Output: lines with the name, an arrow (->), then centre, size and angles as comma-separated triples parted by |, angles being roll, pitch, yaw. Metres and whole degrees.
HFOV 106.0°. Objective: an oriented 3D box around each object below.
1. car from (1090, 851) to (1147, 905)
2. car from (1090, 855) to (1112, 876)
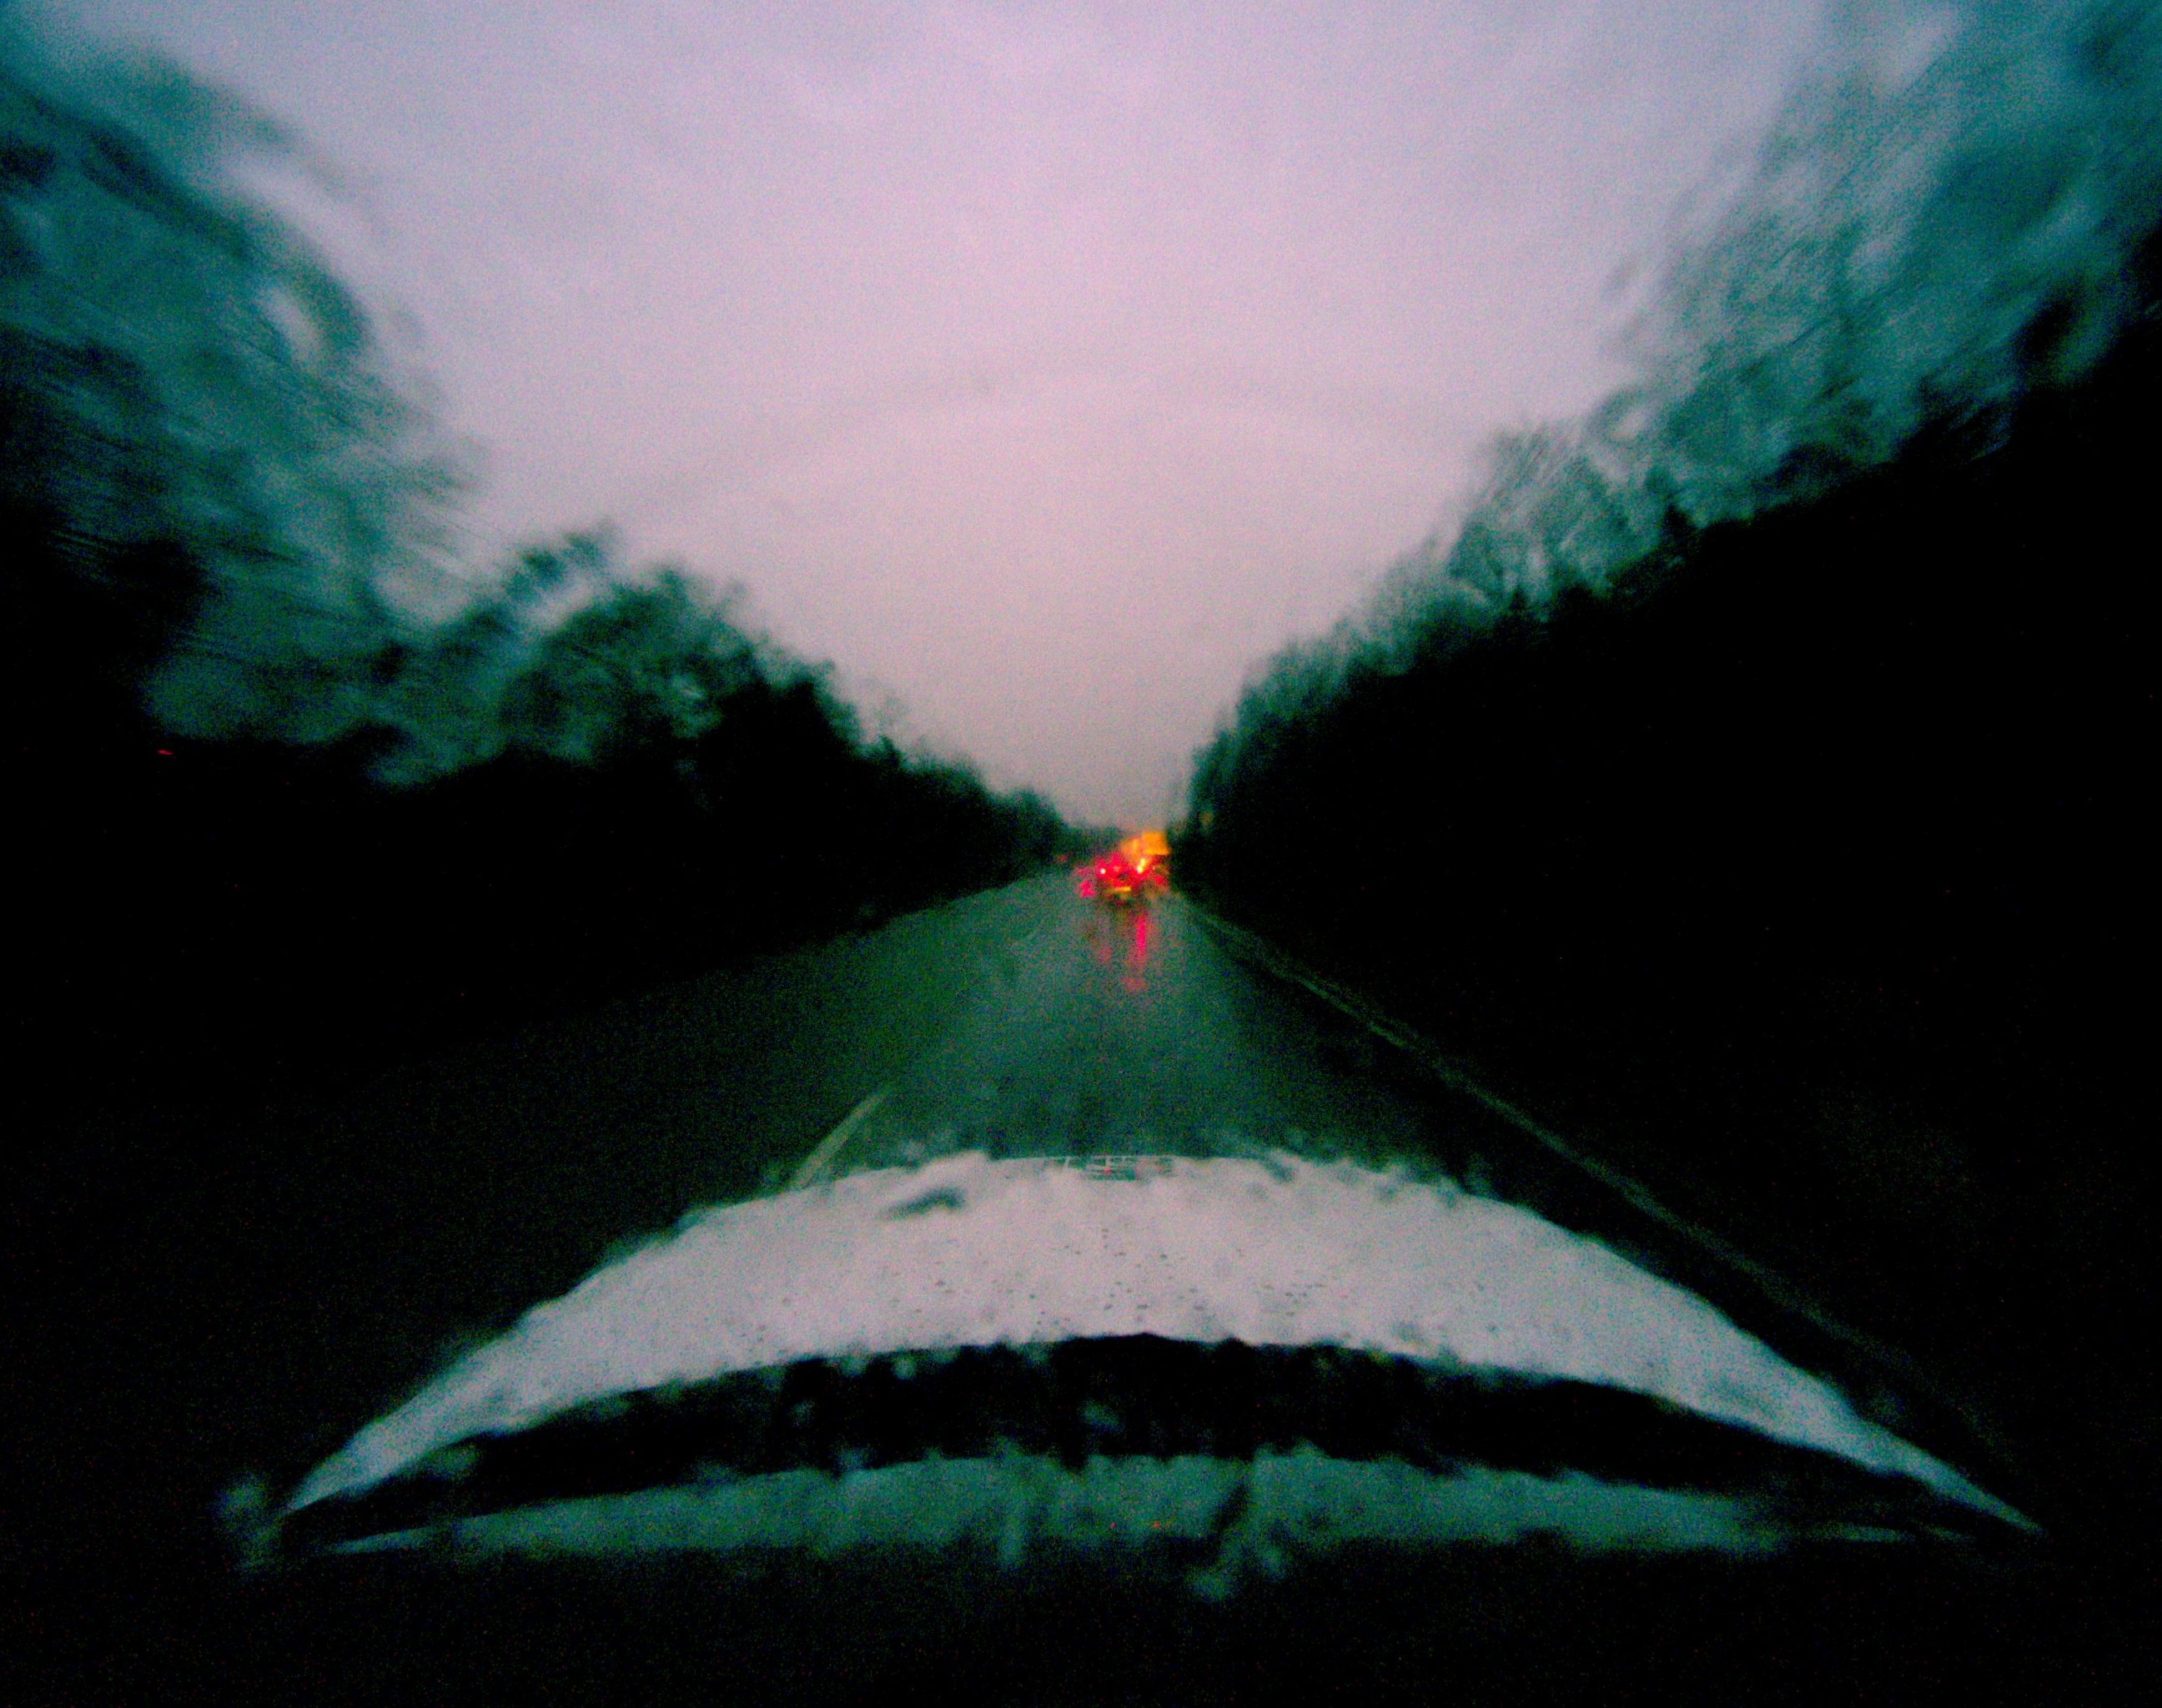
car -> 1.278, 0.758, 27.375 | 1.720, 1.643, 4.003 | -1, 0, 3
car -> 1.746, 0.949, 68.768 | 1.720, 1.643, 4.003 | -1, 0, 3
